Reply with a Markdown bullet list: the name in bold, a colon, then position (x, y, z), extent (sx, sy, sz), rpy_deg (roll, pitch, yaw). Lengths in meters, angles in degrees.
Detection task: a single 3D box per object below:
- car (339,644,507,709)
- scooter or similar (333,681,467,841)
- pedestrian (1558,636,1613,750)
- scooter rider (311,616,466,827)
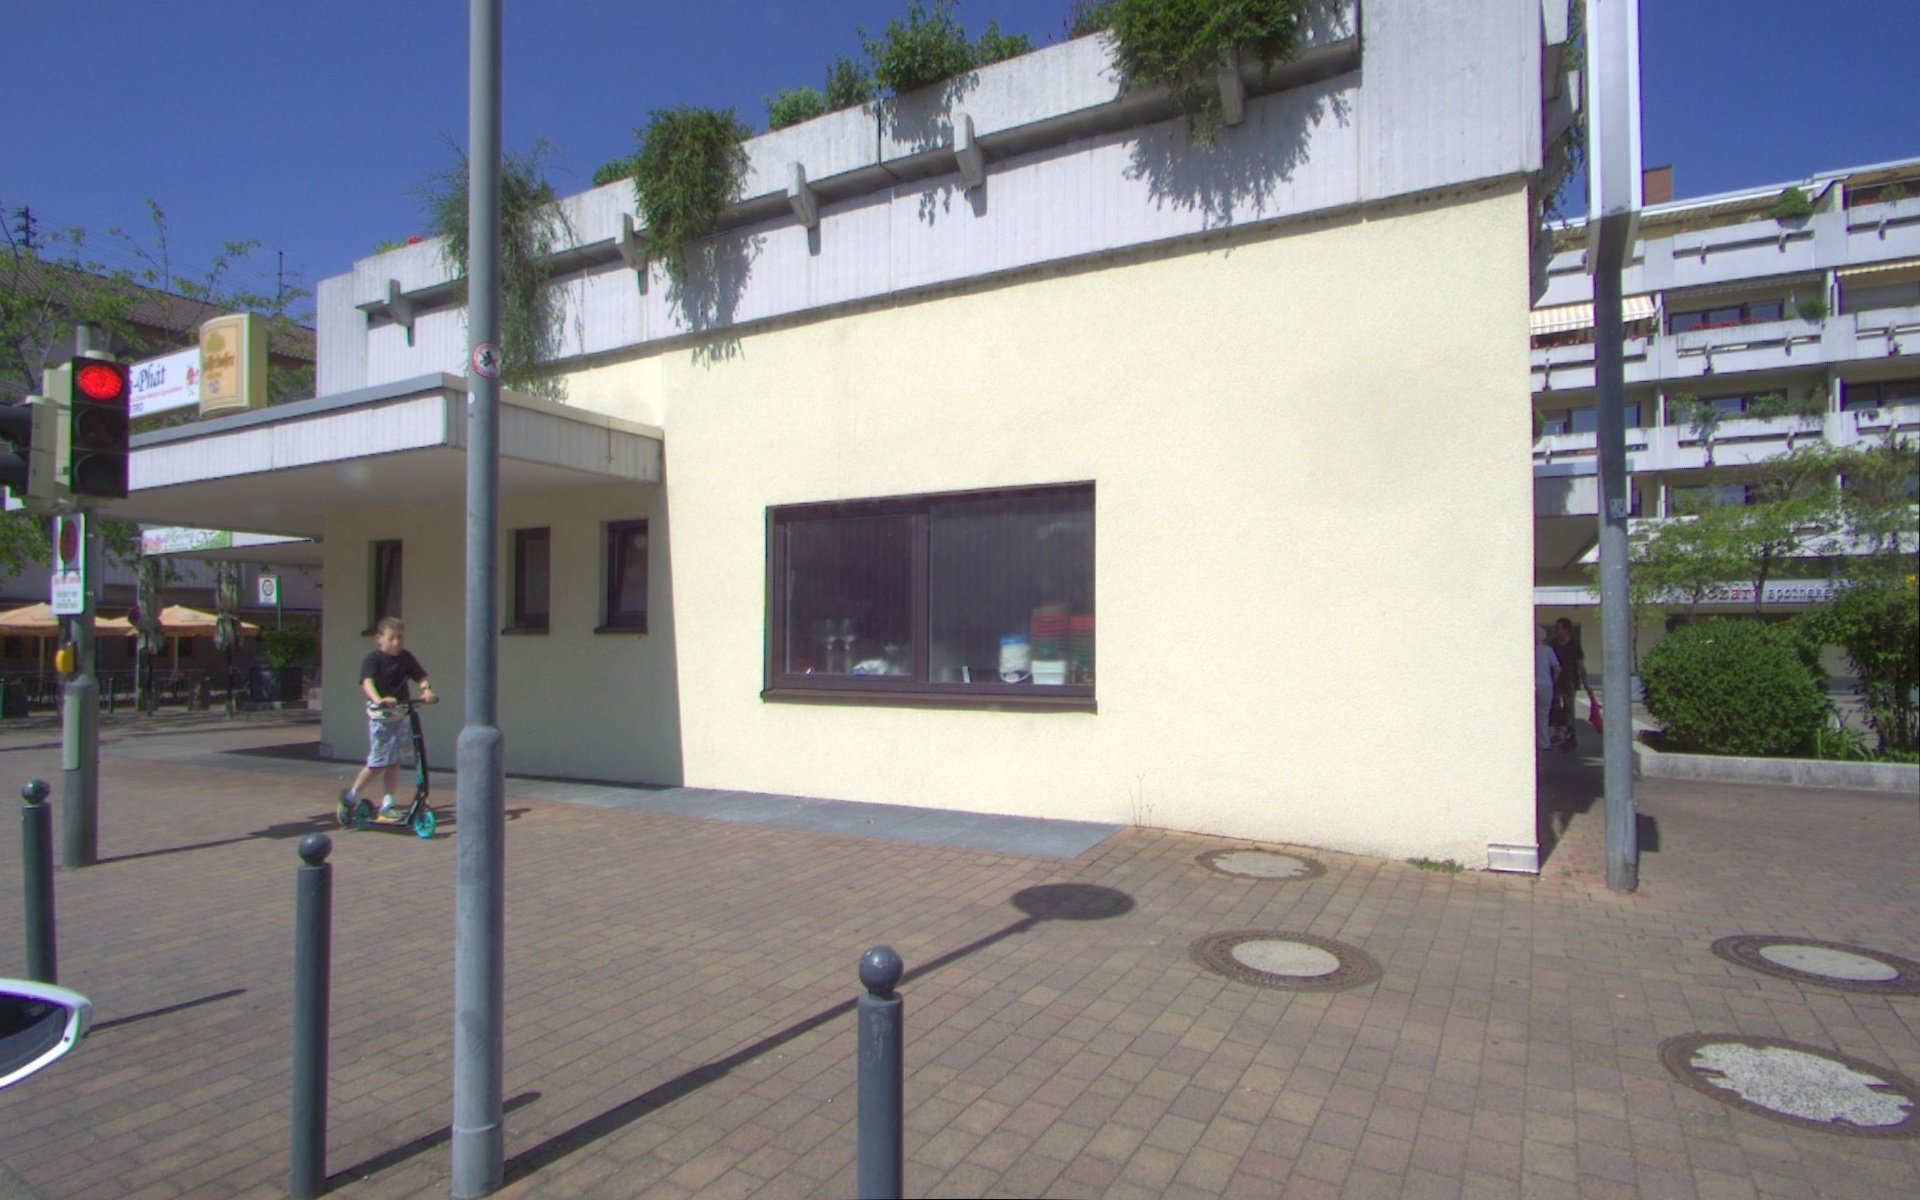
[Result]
- **car**: position (-13.433, 1.885, 25.047), extent (3.909, 1.528, 1.767), rpy_deg (-2, -3, 26)
- **scooter or similar**: position (-3.813, 1.061, 6.810), extent (0.947, 0.977, 0.410), rpy_deg (-1, -2, 34)
- **pedestrian**: position (8.456, 1.234, 13.550), extent (0.596, 1.482, 0.791), rpy_deg (-1, -2, 32)
- **scooter rider**: position (-3.933, 0.792, 6.875), extent (1.117, 1.341, 0.460), rpy_deg (-1, -1, 33)
